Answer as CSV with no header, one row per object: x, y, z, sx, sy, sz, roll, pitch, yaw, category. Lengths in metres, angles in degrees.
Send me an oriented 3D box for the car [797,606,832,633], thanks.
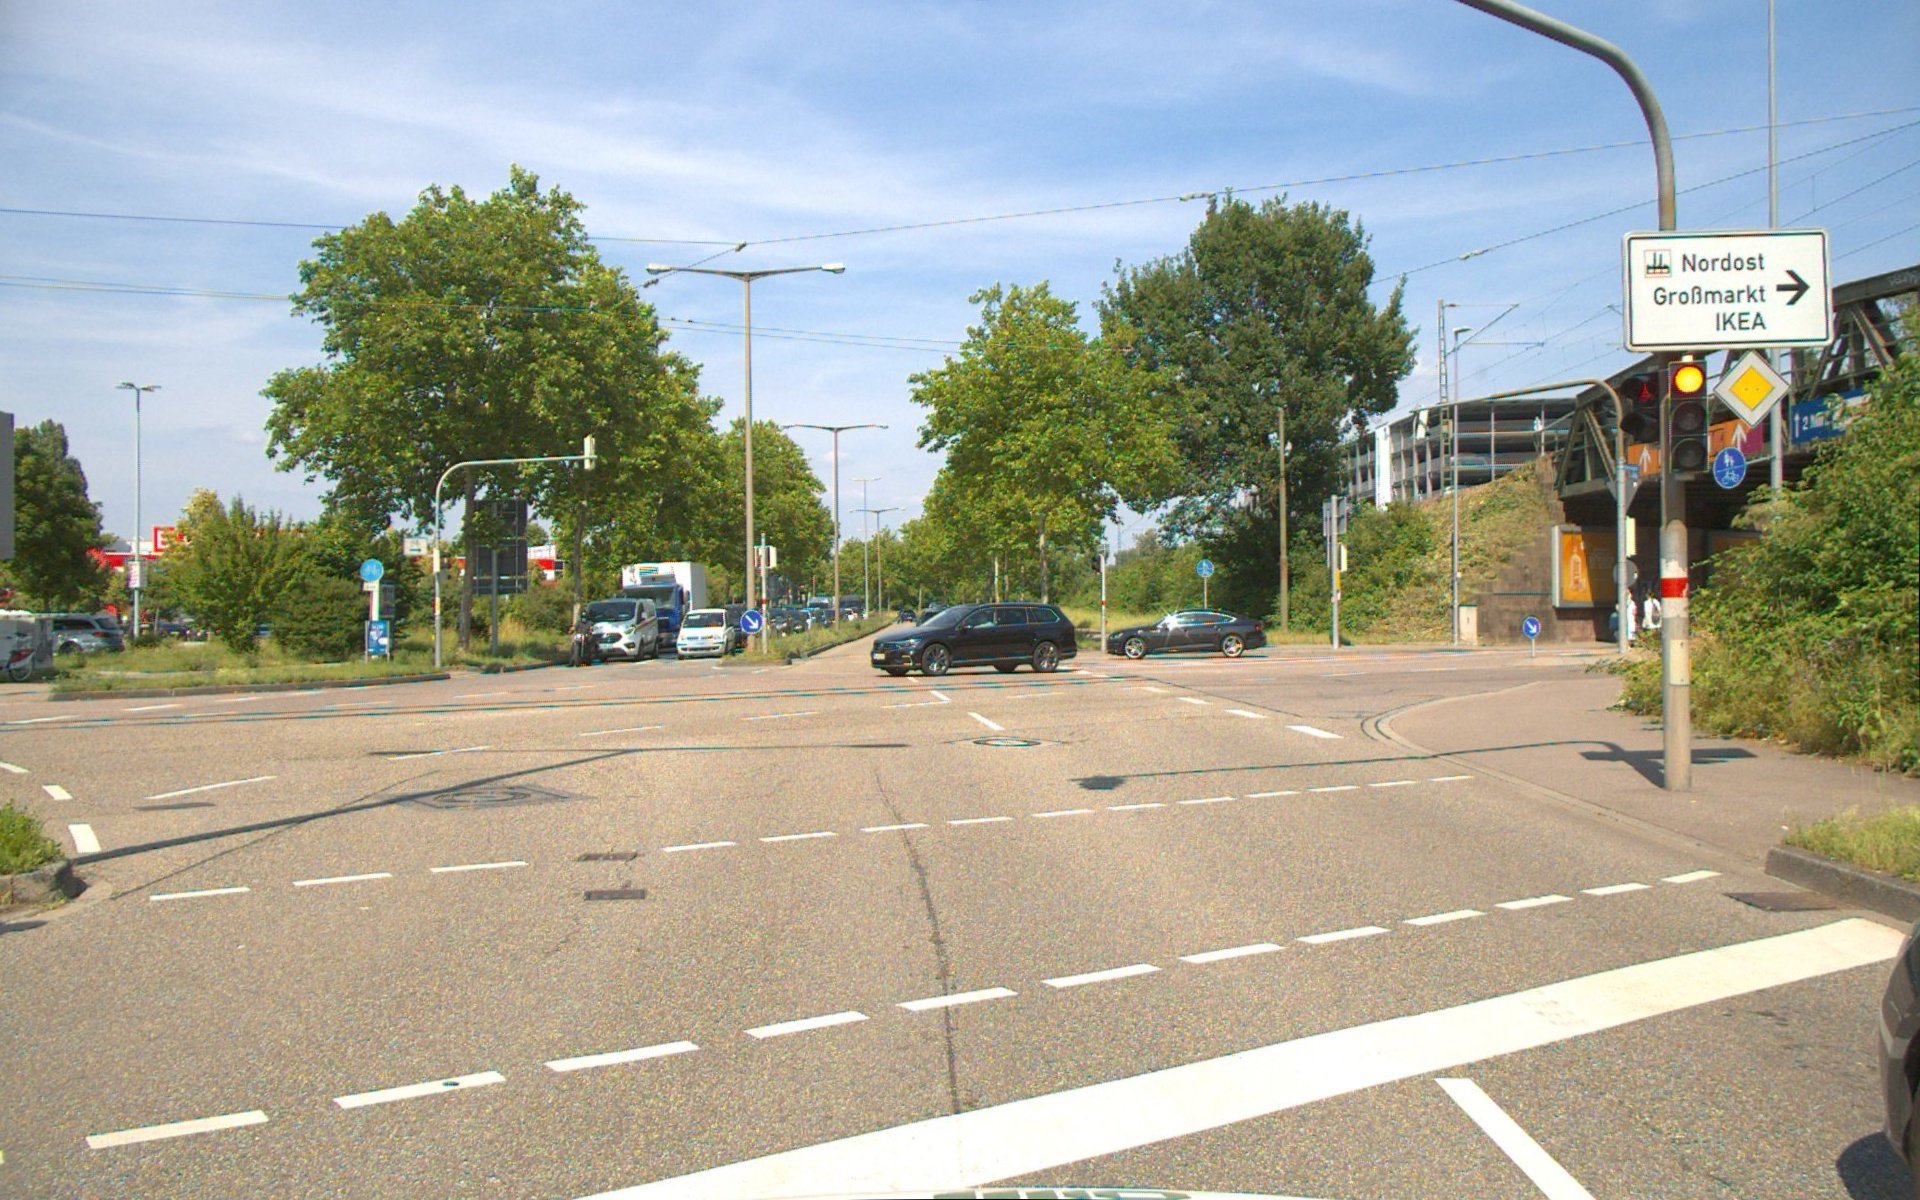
-8.548,1.135,97.413,1.749,1.515,4.209,-2,0,-2,car

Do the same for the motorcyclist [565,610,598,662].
-10.999,1.042,48.057,0.728,1.496,0.987,-1,0,-1,motorcyclist

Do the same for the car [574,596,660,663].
-10.934,0.900,53.024,1.937,2.034,5.028,-1,0,-3,car

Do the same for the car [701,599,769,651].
-7.873,0.891,58.300,1.783,1.675,4.692,-2,-1,-1,car

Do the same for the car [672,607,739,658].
-8.032,1.010,52.466,1.560,1.503,3.728,-2,0,-1,car

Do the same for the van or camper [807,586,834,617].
-12.447,0.134,147.678,1.974,2.633,5.516,-2,0,-1,van or camper

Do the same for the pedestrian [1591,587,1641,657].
15.655,0.523,39.481,0.850,1.640,0.777,-1,0,-1,pedestrian

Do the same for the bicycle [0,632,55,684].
-19.941,1.210,34.679,0.581,1.055,1.897,-1,0,13,bicycle

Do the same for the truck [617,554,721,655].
-11.047,0.155,63.385,2.747,3.532,6.690,-3,0,-1,truck

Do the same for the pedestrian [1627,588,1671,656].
16.461,0.516,39.517,0.714,1.607,0.777,-1,0,-1,pedestrian

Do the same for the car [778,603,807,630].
-12.021,1.173,118.697,1.654,1.891,4.035,-2,-1,-1,car

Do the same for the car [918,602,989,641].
-0.199,0.815,63.809,1.795,1.416,4.268,-1,0,13,car

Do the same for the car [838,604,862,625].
-8.776,1.154,131.686,1.654,1.537,3.814,-2,0,-1,car

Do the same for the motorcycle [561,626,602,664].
-10.964,1.291,47.963,0.674,1.009,2.217,-1,0,-1,motorcycle

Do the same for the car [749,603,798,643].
-8.058,0.990,71.816,1.654,1.614,4.239,-2,0,-1,car

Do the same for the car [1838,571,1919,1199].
2.996,0.685,2.070,1.640,1.479,4.035,1,0,0,car

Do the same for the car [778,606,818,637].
-8.282,1.085,84.723,1.654,1.497,3.814,-2,0,-1,car

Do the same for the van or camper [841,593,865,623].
-9.063,0.723,140.554,1.899,2.410,5.395,-2,-1,-2,van or camper

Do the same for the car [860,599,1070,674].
0.126,0.731,35.056,4.166,1.468,1.771,-1,0,-31,car

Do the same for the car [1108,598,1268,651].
6.608,0.699,47.978,4.508,1.489,1.916,-1,0,8,car

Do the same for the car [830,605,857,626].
-8.787,1.165,125.037,1.747,1.484,4.471,-2,0,-1,car

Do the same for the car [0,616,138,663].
-29.707,1.286,54.182,4.477,1.439,2.197,-1,0,-8,car

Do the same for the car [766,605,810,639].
-8.218,1.036,79.087,1.655,1.499,4.217,-3,0,-1,car
